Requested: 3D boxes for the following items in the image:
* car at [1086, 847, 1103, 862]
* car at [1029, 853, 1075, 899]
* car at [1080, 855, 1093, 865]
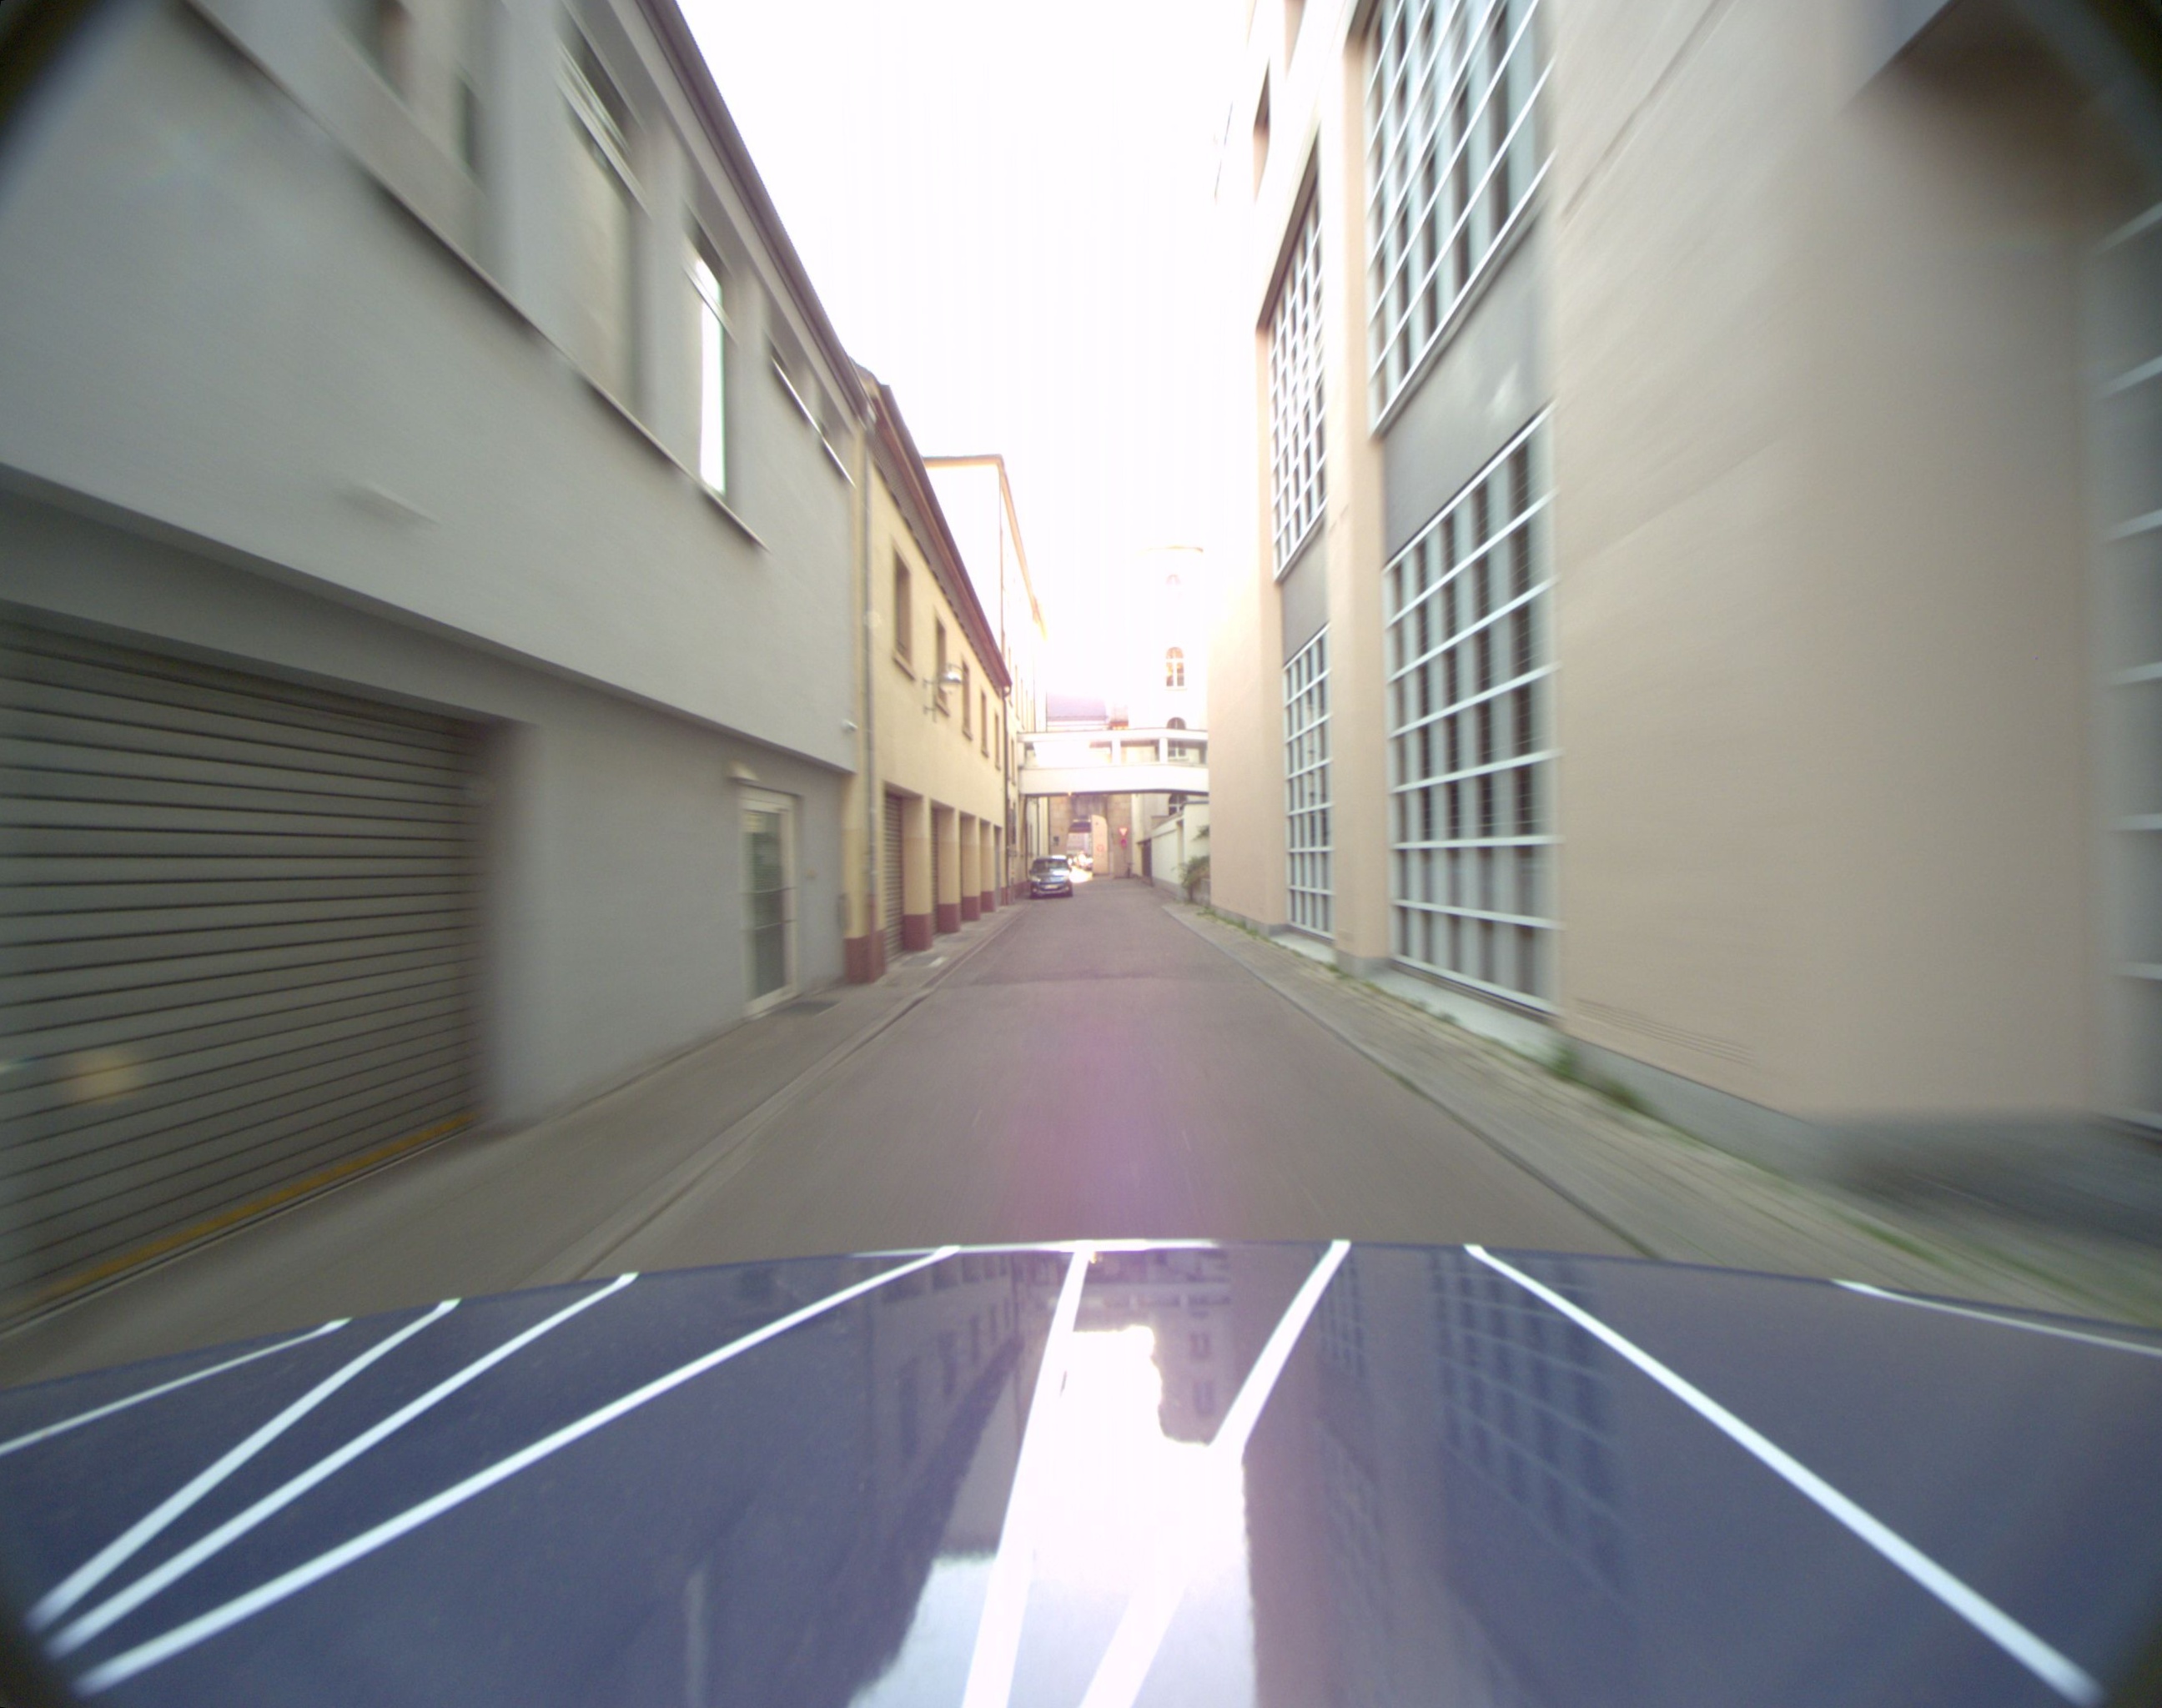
[{"bbox_3d":[1.756,0.062,98.893,1.999,1.805,4.000,-3,0,0],"label":"car"},{"bbox_3d":[-1.199,0.893,33.006,1.764,1.756,4.750,-3,0,0],"label":"car"},{"bbox_3d":[0.809,0.883,117.307,1.806,1.415,3.754,-3,0,-3],"label":"car"}]
